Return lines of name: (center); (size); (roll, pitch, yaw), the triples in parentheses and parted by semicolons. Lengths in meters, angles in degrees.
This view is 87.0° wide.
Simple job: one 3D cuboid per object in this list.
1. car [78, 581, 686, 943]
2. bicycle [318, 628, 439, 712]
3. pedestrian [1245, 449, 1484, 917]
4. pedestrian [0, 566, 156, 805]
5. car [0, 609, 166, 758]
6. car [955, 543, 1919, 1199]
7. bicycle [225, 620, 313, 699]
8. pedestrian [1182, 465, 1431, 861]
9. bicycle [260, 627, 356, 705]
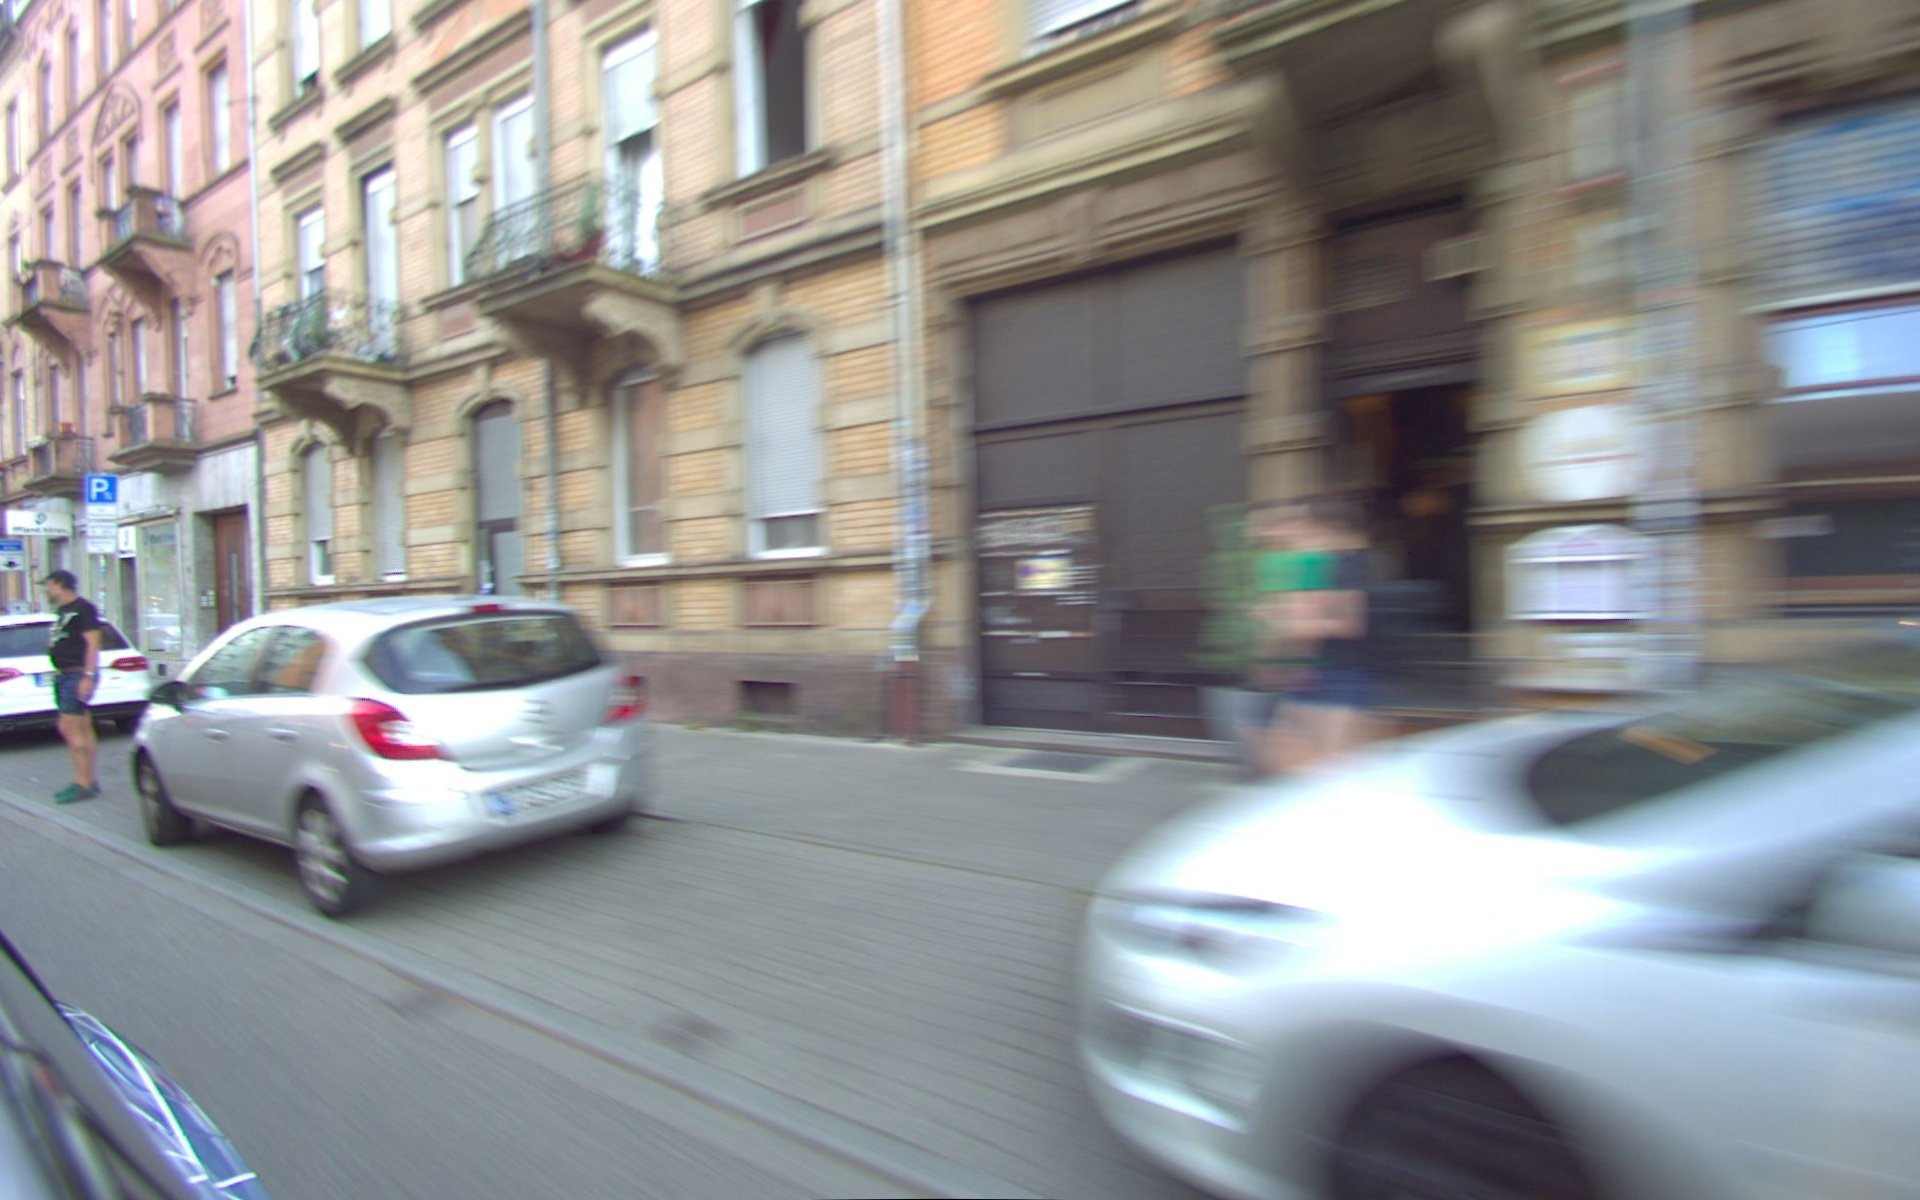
car: (-3.654, 0.717, 6.137); (3.993, 1.468, 1.702); (-2, 2, 37)
bicycle: (-7.708, 0.911, 13.403); (1.616, 1.035, 0.589); (-2, 1, 28)
pedestrian: (1.727, 0.316, 4.298); (0.774, 1.785, 0.601); (-3, 2, 31)
pedestrian: (-6.949, 0.635, 7.847); (1.011, 1.768, 0.554); (-1, 1, 11)
car: (-11.119, 0.902, 11.772); (4.498, 1.422, 1.743); (-2, 1, 36)
car: (2.354, 0.609, 1.769); (4.473, 1.433, 1.769); (-2, 2, 34)
bicycle: (-10.624, 0.897, 15.540); (1.726, 1.140, 0.511); (-2, 1, 35)
pedestrian: (1.730, 0.289, 5.046); (0.994, 1.784, 0.576); (-3, 2, 32)
bicycle: (-9.413, 0.933, 14.590); (1.620, 1.044, 0.560); (-2, 1, 35)
